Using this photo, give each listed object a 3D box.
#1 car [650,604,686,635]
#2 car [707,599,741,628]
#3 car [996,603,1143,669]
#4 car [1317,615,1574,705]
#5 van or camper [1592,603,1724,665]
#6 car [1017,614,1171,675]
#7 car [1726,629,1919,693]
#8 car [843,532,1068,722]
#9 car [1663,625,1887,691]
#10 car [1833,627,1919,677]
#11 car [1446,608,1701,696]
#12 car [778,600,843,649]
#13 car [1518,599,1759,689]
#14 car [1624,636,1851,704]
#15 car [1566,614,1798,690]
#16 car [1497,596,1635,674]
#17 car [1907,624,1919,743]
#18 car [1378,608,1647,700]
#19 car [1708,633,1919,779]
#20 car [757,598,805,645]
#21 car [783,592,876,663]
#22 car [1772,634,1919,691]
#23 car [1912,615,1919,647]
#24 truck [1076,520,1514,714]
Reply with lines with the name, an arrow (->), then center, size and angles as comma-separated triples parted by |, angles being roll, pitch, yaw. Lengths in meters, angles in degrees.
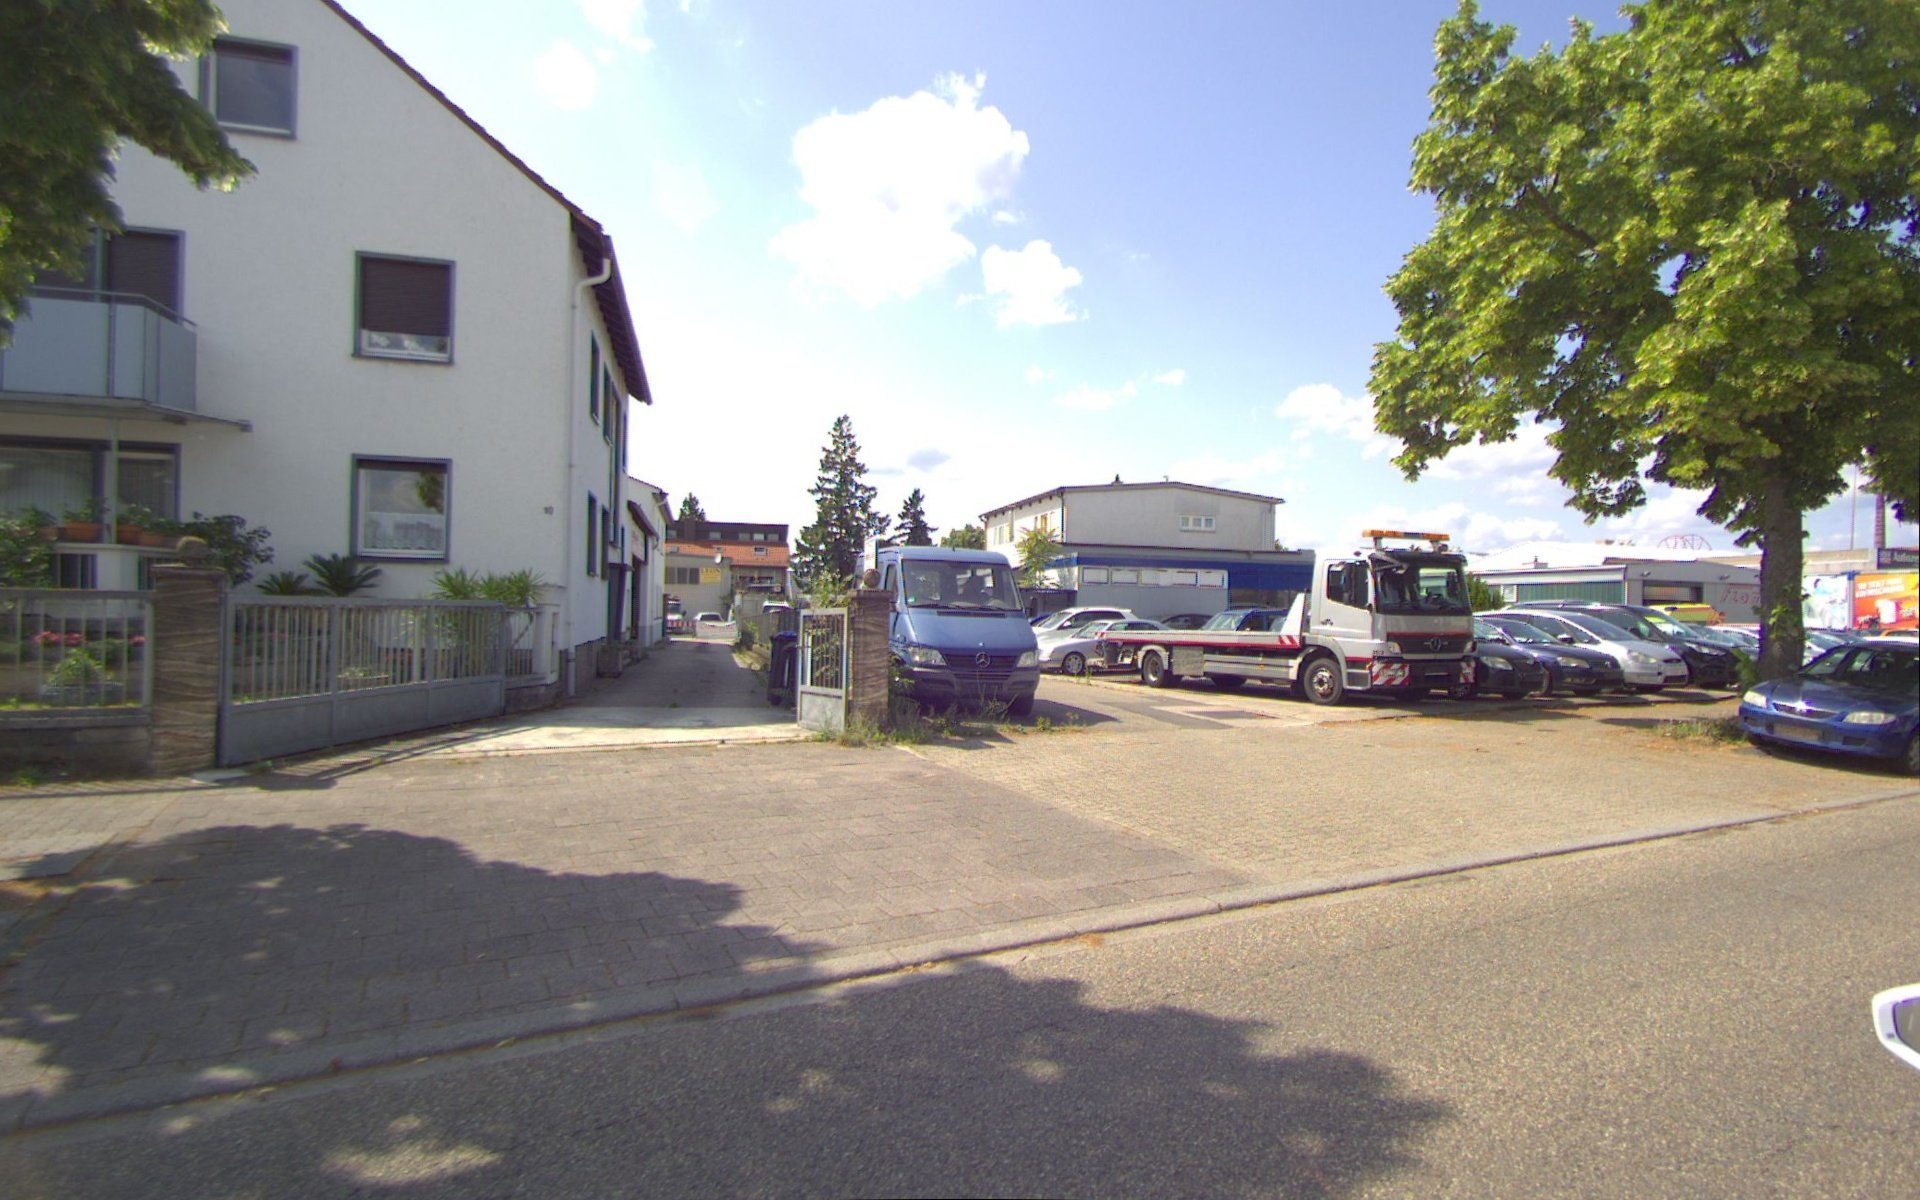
car -> -17.284, 1.153, 59.487 | 1.968, 1.751, 3.986 | 1, -1, -17
car -> -15.007, 0.869, 63.787 | 1.967, 1.751, 3.988 | 1, -1, -15
car -> 3.145, 1.022, 28.773 | 3.868, 1.780, 1.638 | 1, 0, -24
car -> 8.839, 1.043, 18.689 | 1.656, 1.478, 4.183 | 1, -2, -26
van or camper -> 29.400, 1.392, 42.310 | 5.282, 2.508, 1.990 | 0, 0, -22
car -> 3.509, 1.154, 26.308 | 3.706, 1.499, 1.638 | 2, 0, -24
car -> 23.247, 1.587, 26.886 | 1.803, 1.509, 4.013 | 2, -2, -26
car -> -0.300, 0.381, 14.721 | 1.967, 2.261, 5.000 | 2, -1, -16
car -> 20.937, 1.441, 26.001 | 1.803, 1.509, 4.130 | 2, -2, -26
car -> 32.740, 1.832, 35.558 | 3.252, 1.677, 1.440 | 1, -1, -22
car -> 12.743, 1.006, 21.158 | 1.805, 1.636, 4.275 | 1, -1, -29
car -> -5.488, 0.873, 36.473 | 1.822, 1.608, 3.903 | 2, -1, -16
car -> 14.989, 0.937, 22.448 | 1.803, 1.812, 4.130 | 2, -2, -26
car -> 19.210, 1.687, 25.039 | 1.803, 1.449, 4.130 | 2, -2, -26
car -> 16.955, 1.173, 23.813 | 1.803, 1.640, 4.130 | 2, -2, -26
car -> 16.903, 0.961, 27.988 | 3.956, 2.040, 1.701 | 2, -1, -32
car -> 16.230, 1.292, 15.101 | 4.348, 1.723, 1.685 | 1, 2, -30
car -> 10.804, 0.986, 20.033 | 1.803, 1.603, 4.509 | 1, -1, -26
car -> 11.563, 1.229, 12.646 | 4.103, 1.503, 1.694 | 1, 1, -26
car -> -8.604, 1.003, 48.063 | 1.822, 2.128, 3.903 | 2, -1, -16
car -> -3.852, 0.763, 28.919 | 1.967, 1.816, 4.480 | 2, -1, -16
car -> 25.581, 1.718, 28.163 | 1.802, 1.392, 4.016 | 1, 0, -24
car -> 54.286, 1.731, 54.222 | 1.705, 1.754, 3.840 | 1, -1, -18
truck -> 5.805, 0.346, 19.780 | 2.683, 2.894, 9.233 | 1, -1, -24
